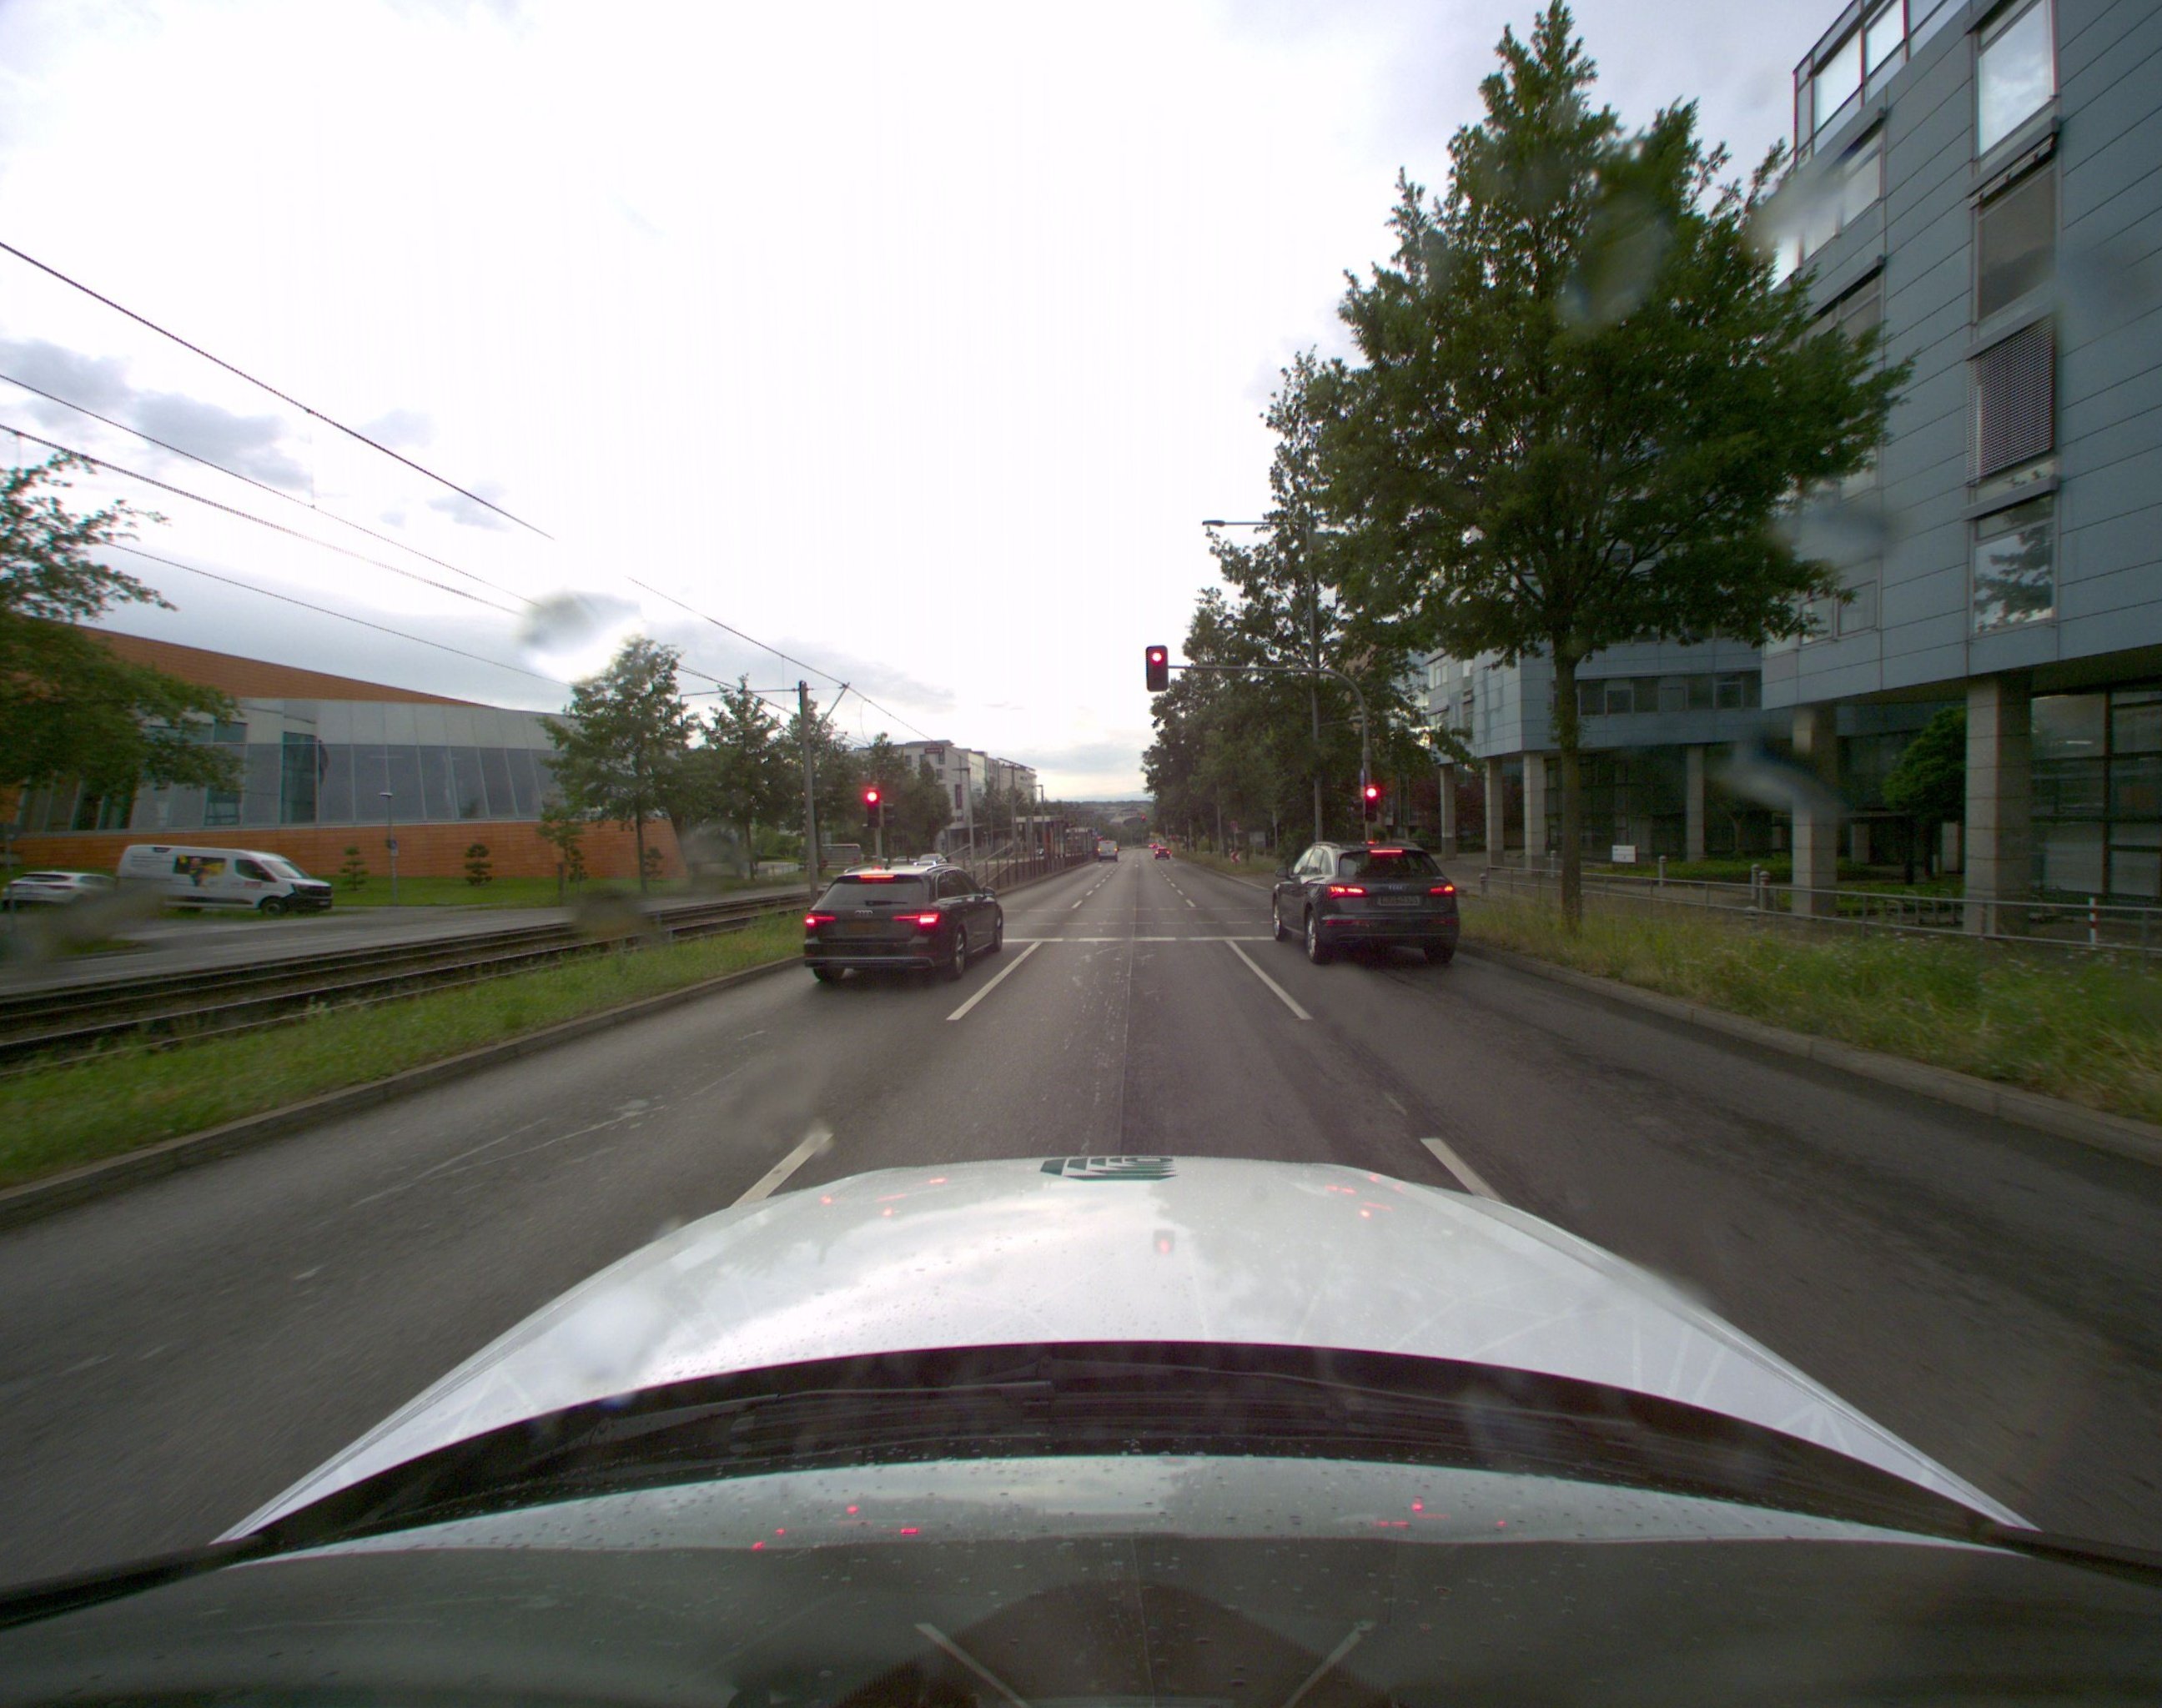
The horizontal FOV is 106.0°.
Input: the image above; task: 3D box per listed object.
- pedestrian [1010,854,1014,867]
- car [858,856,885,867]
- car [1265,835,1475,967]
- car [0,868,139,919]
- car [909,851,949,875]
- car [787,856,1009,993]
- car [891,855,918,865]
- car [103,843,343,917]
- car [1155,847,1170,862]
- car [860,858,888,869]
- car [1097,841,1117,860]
[{"bbox_3d":[-9.732,0.917,115.391,0.473,1.920,0.491,-1,0,3],"label":"pedestrian"},{"bbox_3d":[-34.390,1.217,133.647,4.091,1.436,1.649,-4,0,-11],"label":"car"},{"bbox_3d":[4.082,0.576,12.328,1.810,1.612,4.475,-1,0,4],"label":"car"},{"bbox_3d":[-36.590,1.374,29.535,1.733,1.665,3.718,-1,0,-25],"label":"car"},{"bbox_3d":[-12.092,0.688,65.288,1.985,1.719,4.844,-3,0,3],"label":"car"},{"bbox_3d":[-2.246,0.791,11.307,1.773,1.466,4.518,-1,0,4],"label":"car"},{"bbox_3d":[-28.362,0.990,130.999,3.856,1.436,1.655,-4,0,-1],"label":"car"},{"bbox_3d":[-31.554,0.947,30.212,5.613,2.581,2.394,1,0,-14],"label":"car"},{"bbox_3d":[10.112,0.057,101.498,1.766,1.691,3.849,-1,0,4],"label":"car"},{"bbox_3d":[-27.718,1.257,109.028,3.340,1.387,1.440,-1,0,20],"label":"car"},{"bbox_3d":[2.903,-0.407,90.113,2.084,2.053,4.611,-1,0,4],"label":"car"}]
